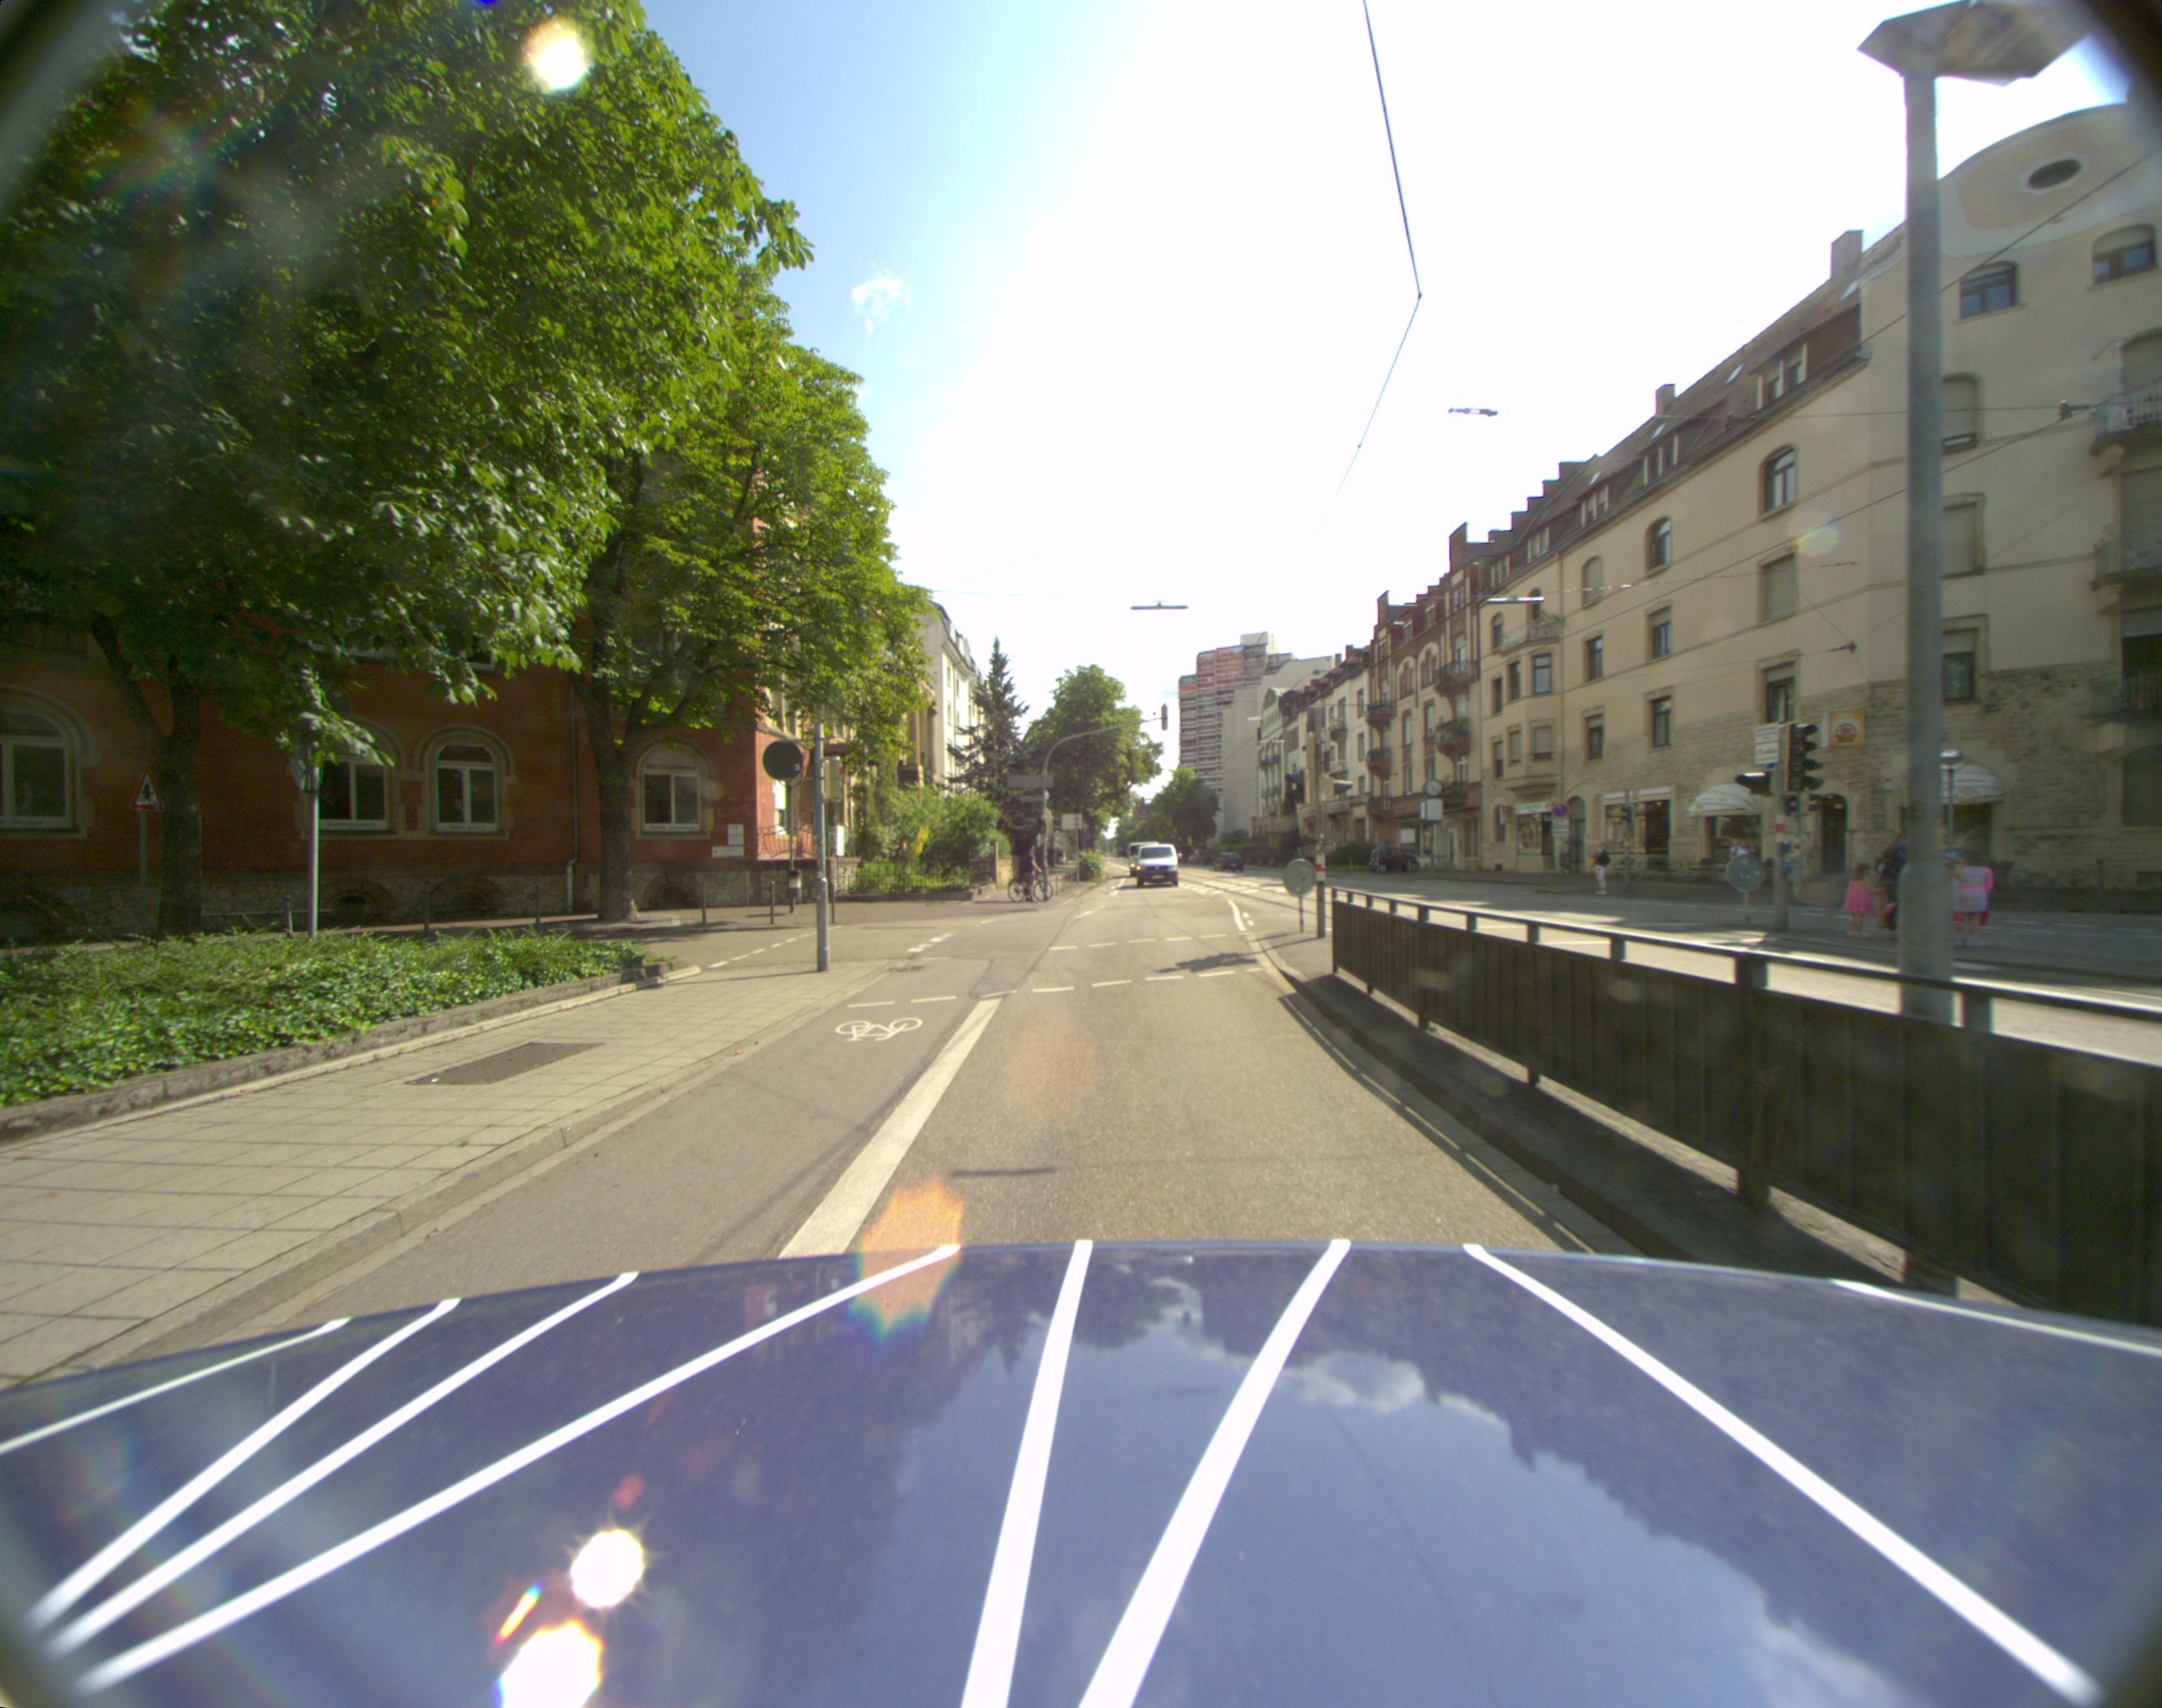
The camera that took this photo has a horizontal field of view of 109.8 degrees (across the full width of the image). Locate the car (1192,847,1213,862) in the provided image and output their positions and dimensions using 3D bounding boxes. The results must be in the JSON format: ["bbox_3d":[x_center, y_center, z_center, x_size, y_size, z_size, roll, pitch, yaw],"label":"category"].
[{"bbox_3d":[14.119,0.016,88.654,1.796,1.701,4.331,-1,0,0],"label":"car"}]

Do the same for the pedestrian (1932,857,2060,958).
[{"bbox_3d":[12.279,0.699,10.221,0.828,1.296,0.717,1,1,-4],"label":"pedestrian"}]

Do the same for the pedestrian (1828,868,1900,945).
[{"bbox_3d":[11.636,0.771,11.299,0.643,1.107,0.443,-1,1,-4],"label":"pedestrian"}]

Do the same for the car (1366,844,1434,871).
[{"bbox_3d":[19.907,0.186,47.487,3.452,1.478,1.706,-3,0,2],"label":"car"}]

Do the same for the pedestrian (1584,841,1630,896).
[{"bbox_3d":[17.198,0.459,24.849,0.758,1.695,0.874,-5,1,0],"label":"pedestrian"}]

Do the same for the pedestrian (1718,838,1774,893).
[{"bbox_3d":[19.659,0.322,22.487,0.695,1.533,0.963,-5,1,2],"label":"pedestrian"}]

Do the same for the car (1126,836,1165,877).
[{"bbox_3d":[4.320,0.128,51.611,2.167,2.572,5.663,-1,0,1],"label":"car"}]

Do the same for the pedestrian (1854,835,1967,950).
[{"bbox_3d":[11.681,0.523,10.725,0.730,1.556,0.799,-1,1,-4],"label":"pedestrian"}]

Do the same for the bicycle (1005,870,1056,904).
[{"bbox_3d":[-1.625,1.058,24.691,1.849,1.029,0.389,0,0,-44],"label":"bicycle"}]

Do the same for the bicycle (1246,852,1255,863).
[{"bbox_3d":[16.854,0.360,75.695,0.587,0.980,1.873,-1,1,5],"label":"bicycle"}]

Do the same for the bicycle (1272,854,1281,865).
[{"bbox_3d":[16.778,0.468,65.299,0.524,0.901,2.067,-1,2,8],"label":"bicycle"}]

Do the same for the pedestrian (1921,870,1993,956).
[{"bbox_3d":[11.612,0.773,10.079,0.438,1.102,0.423,1,1,-4],"label":"pedestrian"}]

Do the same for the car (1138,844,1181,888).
[{"bbox_3d":[3.645,0.508,35.865,1.830,1.856,4.847,-2,0,5],"label":"car"}]

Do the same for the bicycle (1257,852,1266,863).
[{"bbox_3d":[16.926,0.321,71.190,0.539,1.024,1.873,-1,1,5],"label":"bicycle"}]

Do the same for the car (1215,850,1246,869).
[{"bbox_3d":[11.360,0.415,57.886,1.629,1.379,3.436,0,0,0],"label":"car"}]

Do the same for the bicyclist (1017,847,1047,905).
[{"bbox_3d":[-1.586,0.697,24.659,0.736,1.809,0.819,-1,1,-22],"label":"bicyclist"}]
